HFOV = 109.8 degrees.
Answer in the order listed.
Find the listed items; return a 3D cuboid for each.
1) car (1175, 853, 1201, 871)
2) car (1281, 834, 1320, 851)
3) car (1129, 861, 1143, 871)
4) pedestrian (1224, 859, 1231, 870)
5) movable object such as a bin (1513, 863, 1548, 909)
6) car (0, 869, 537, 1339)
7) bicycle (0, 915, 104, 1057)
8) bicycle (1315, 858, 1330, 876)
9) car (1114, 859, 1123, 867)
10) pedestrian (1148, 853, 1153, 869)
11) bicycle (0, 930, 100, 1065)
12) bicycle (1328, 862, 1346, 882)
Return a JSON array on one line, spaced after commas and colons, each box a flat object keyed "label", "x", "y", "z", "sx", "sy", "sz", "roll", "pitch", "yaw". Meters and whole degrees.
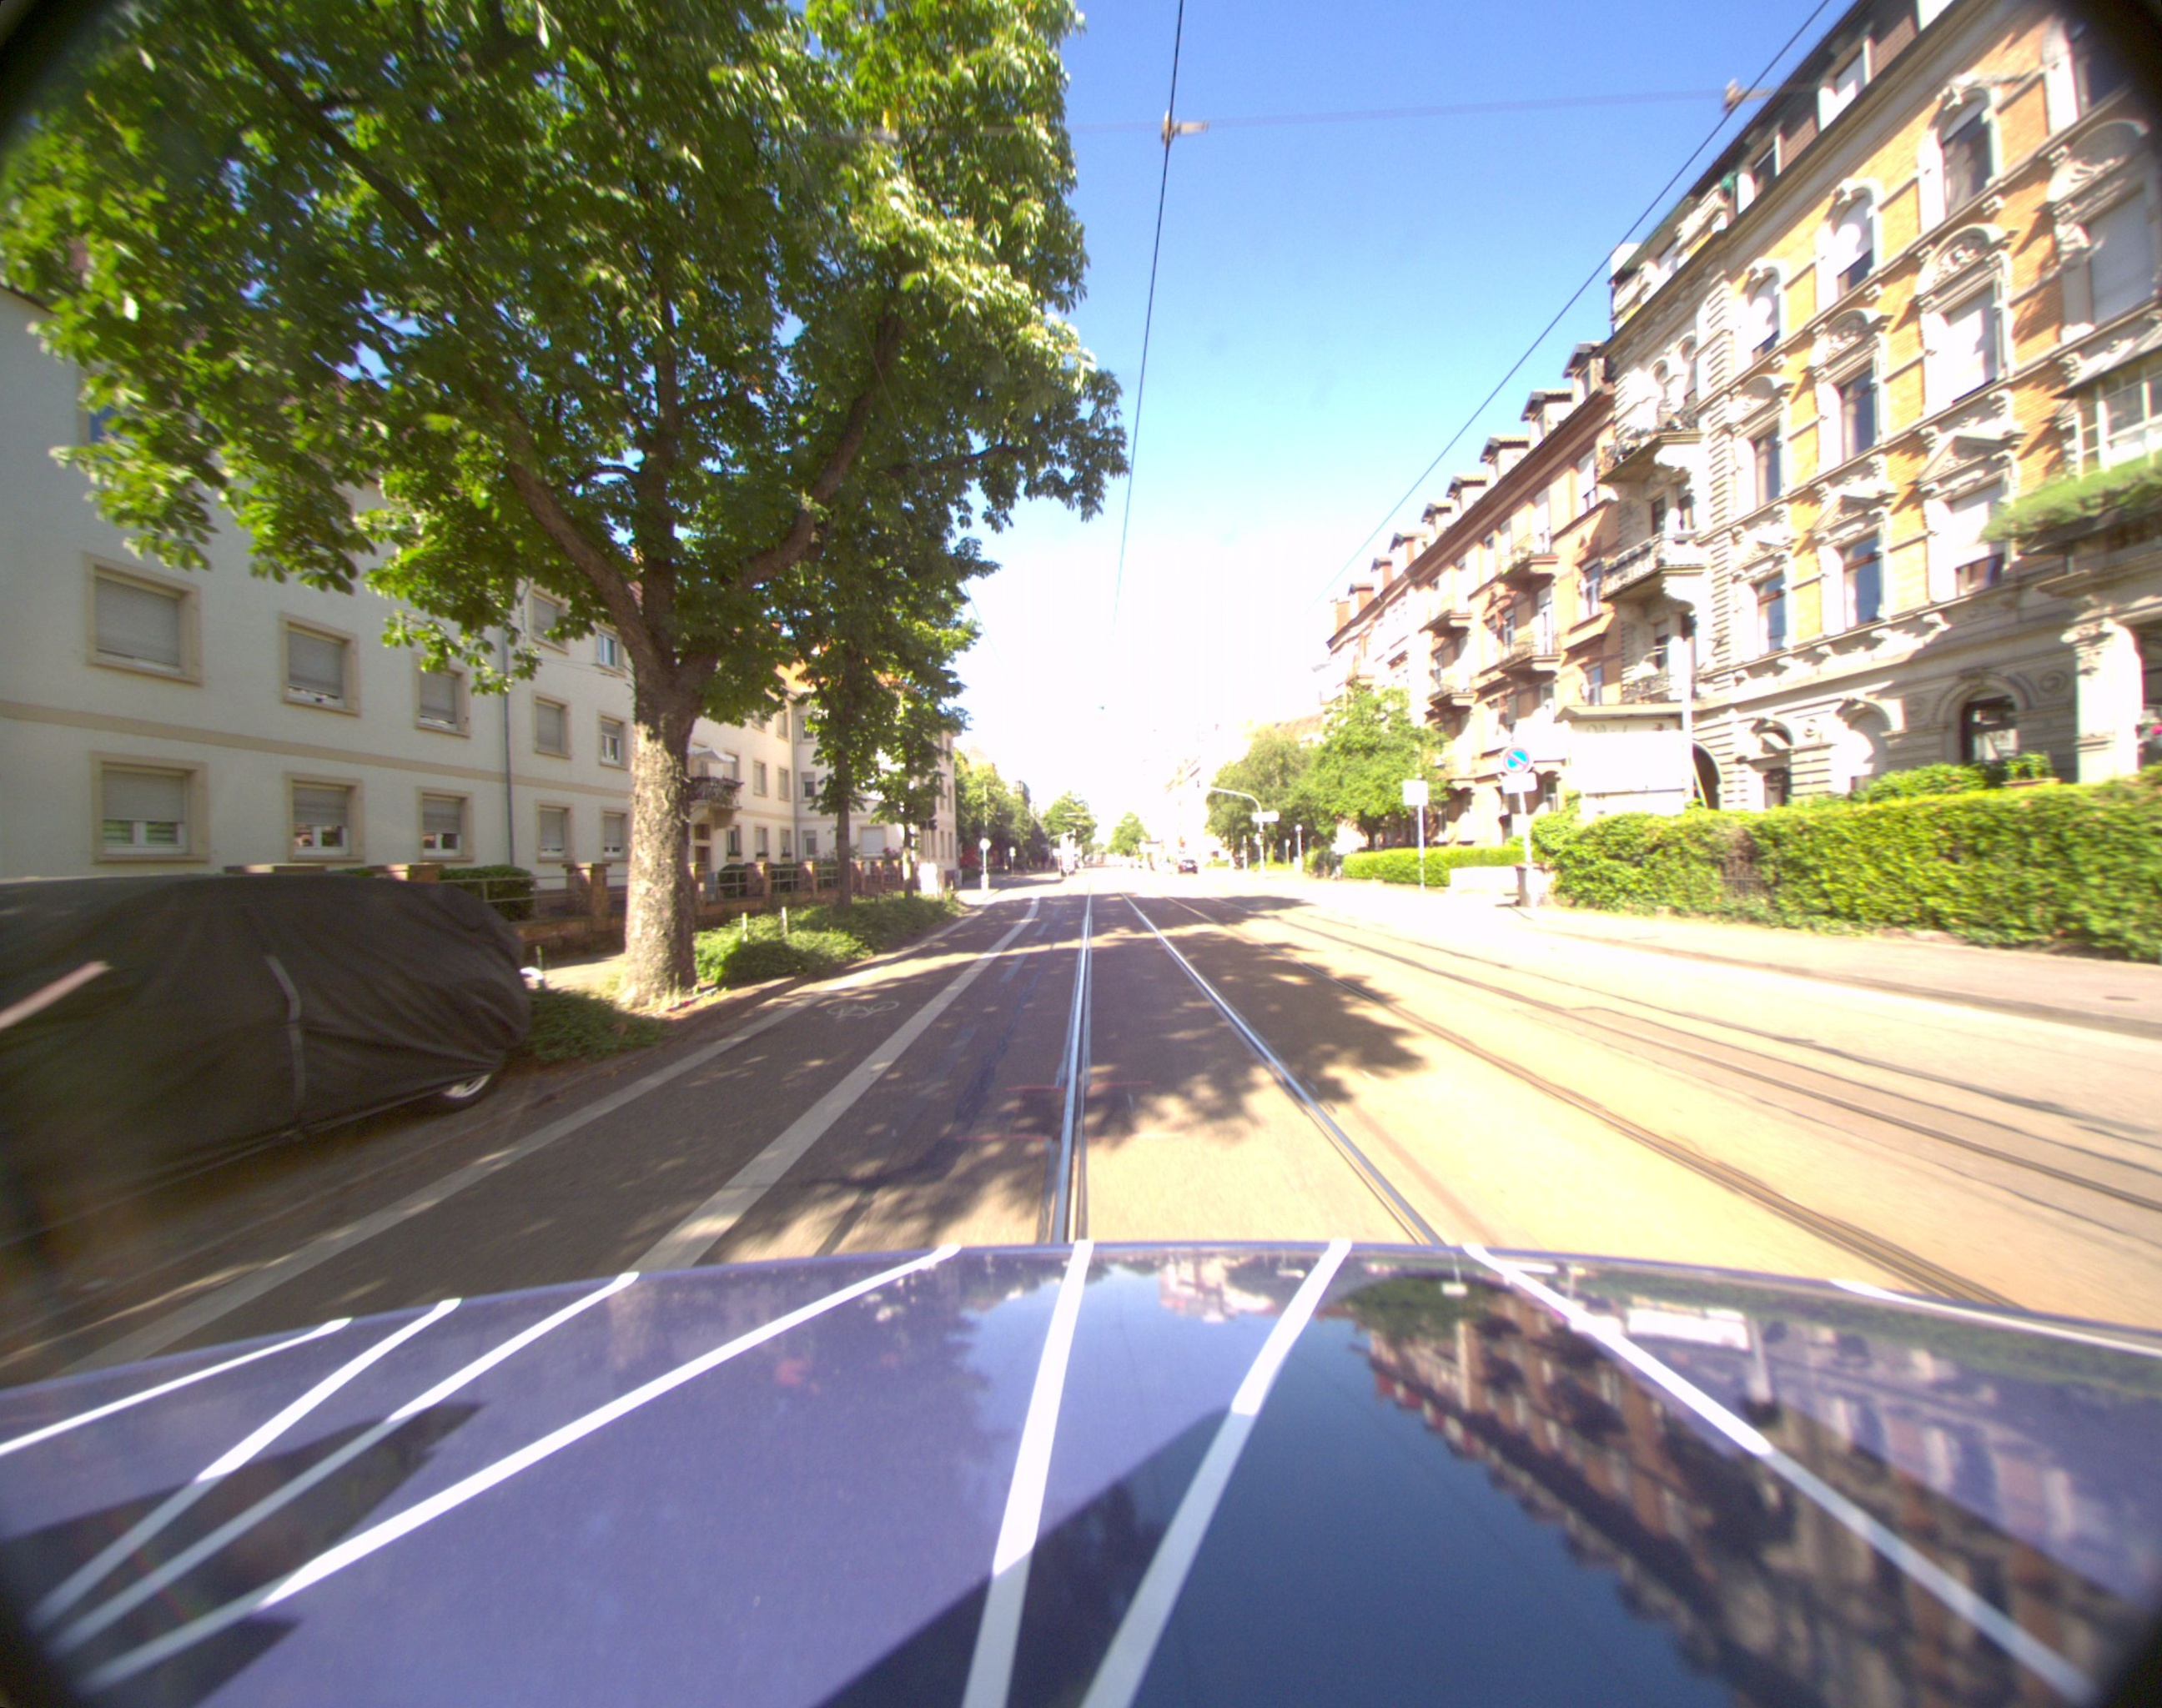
[{"label": "car", "x": 10.277, "y": 0.735, "z": 73.299, "sx": 1.836, "sy": 1.509, "sz": 4.967, "roll": -4, "pitch": 0, "yaw": 1}, {"label": "car", "x": 25.011, "y": -1.328, "z": 86.810, "sx": 4.023, "sy": 1.686, "sz": 1.691, "roll": -3, "pitch": 0, "yaw": 9}, {"label": "car", "x": 9.077, "y": 1.915, "z": 126.081, "sx": 1.902, "sy": 1.608, "sz": 4.264, "roll": 0, "pitch": 0, "yaw": 0}, {"label": "pedestrian", "x": 17.742, "y": 1.229, "z": 92.133, "sx": 0.659, "sy": 1.274, "sz": 0.724, "roll": -3, "pitch": 0, "yaw": 1}, {"label": "movable object such as a bin", "x": 11.042, "y": 0.789, "z": 18.677, "sx": 0.480, "sy": 1.079, "sz": 0.541, "roll": -3, "pitch": 0, "yaw": 3}, {"label": "car", "x": -5.055, "y": 1.028, "z": 3.509, "sx": 1.748, "sy": 1.755, "sz": 4.478, "roll": -3, "pitch": 0, "yaw": 0}, {"label": "bicycle", "x": -9.986, "y": 1.225, "z": 6.745, "sx": 0.448, "sy": 1.231, "sz": 1.675, "roll": -1, "pitch": 0, "yaw": 0}, {"label": "bicycle", "x": 13.081, "y": 0.718, "z": 41.170, "sx": 0.342, "sy": 0.920, "sz": 1.943, "roll": -3, "pitch": 0, "yaw": 5}, {"label": "car", "x": 8.016, "y": 1.840, "z": 160.884, "sx": 1.694, "sy": 1.531, "sz": 3.800, "roll": -3, "pitch": 0, "yaw": 5}, {"label": "pedestrian", "x": 8.047, "y": 0.788, "z": 87.656, "sx": 0.466, "sy": 1.774, "sz": 0.673, "roll": -2, "pitch": 0, "yaw": 0}, {"label": "bicycle", "x": -10.706, "y": 1.433, "z": 7.266, "sx": 0.448, "sy": 1.231, "sz": 1.675, "roll": -1, "pitch": 0, "yaw": 0}, {"label": "bicycle", "x": 12.478, "y": 0.853, "z": 37.080, "sx": 0.342, "sy": 0.920, "sz": 1.943, "roll": -3, "pitch": 0, "yaw": 5}]
